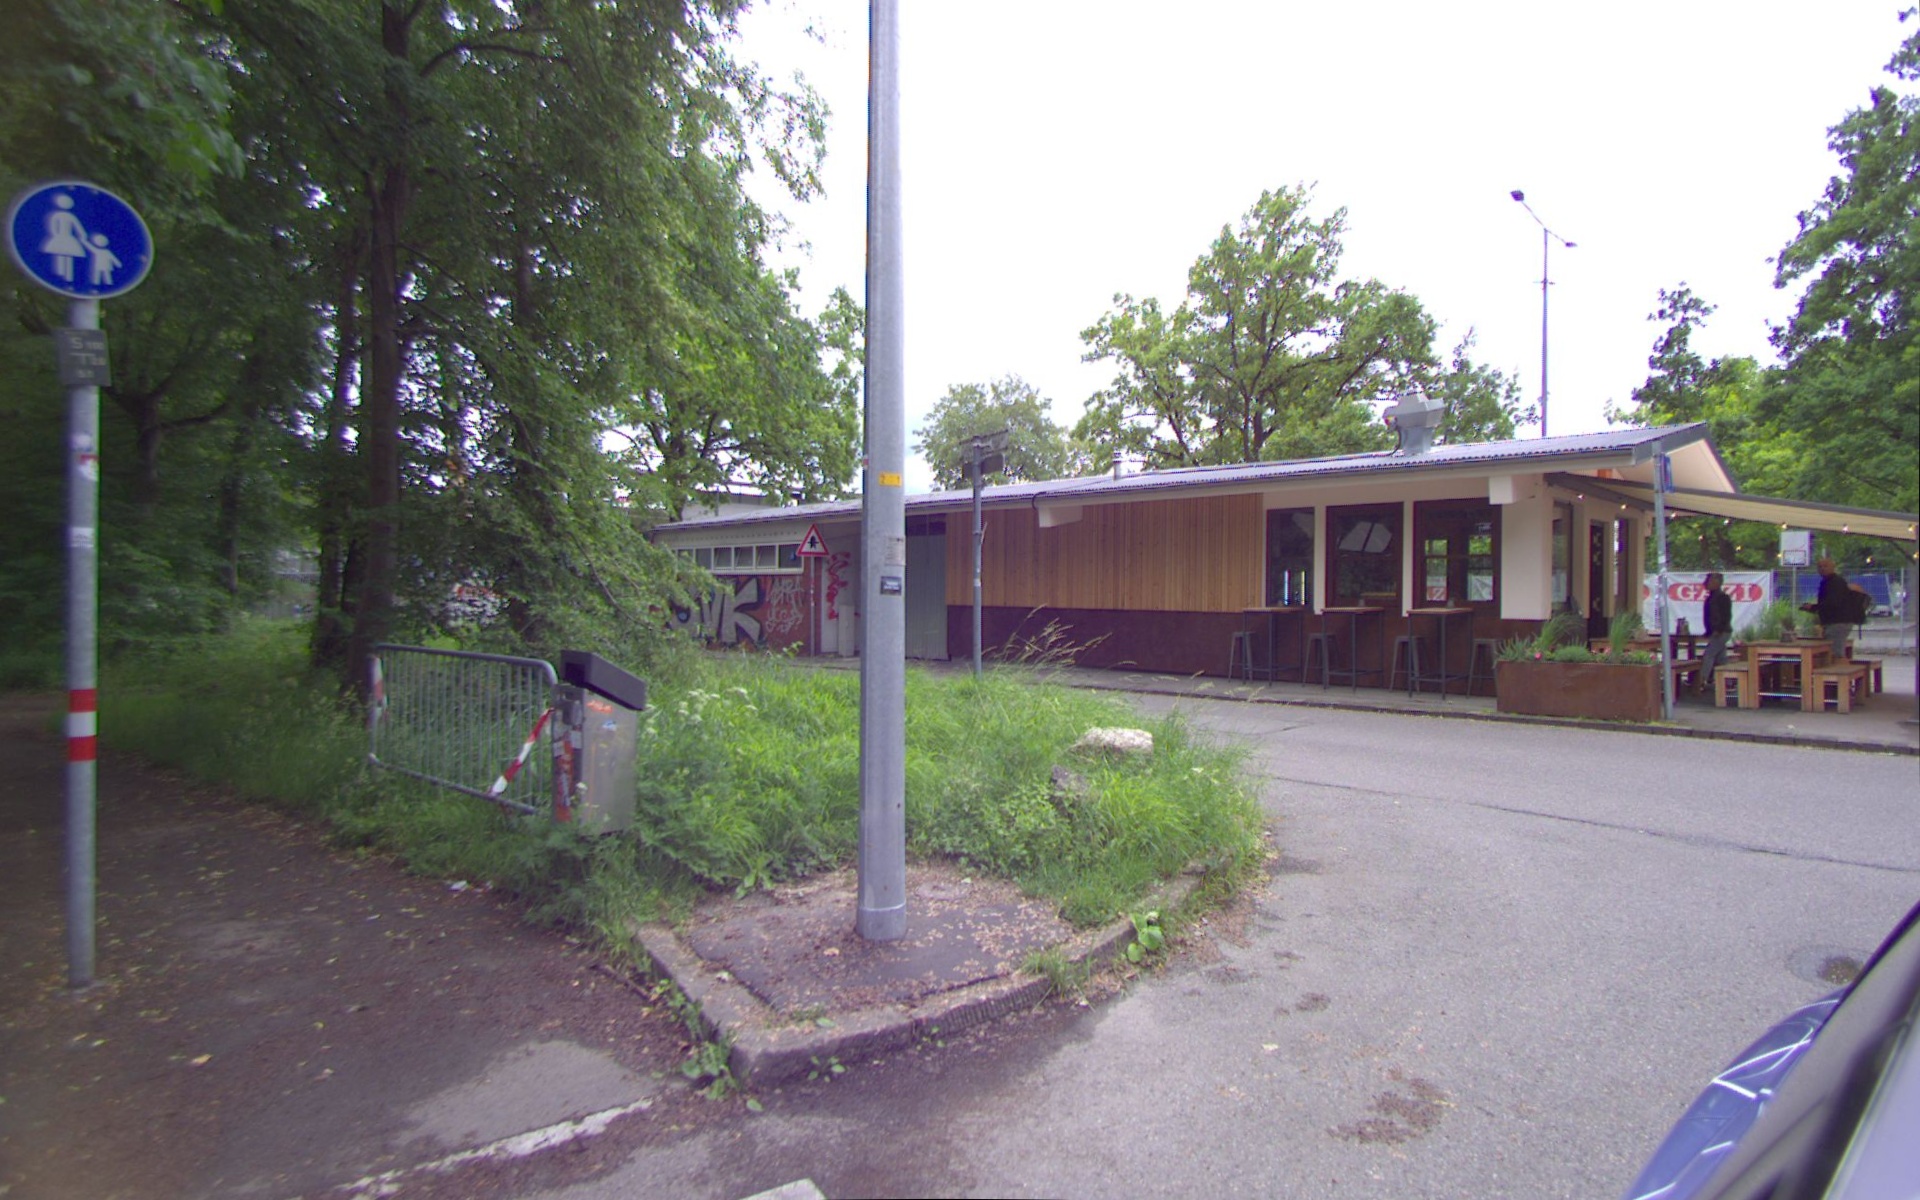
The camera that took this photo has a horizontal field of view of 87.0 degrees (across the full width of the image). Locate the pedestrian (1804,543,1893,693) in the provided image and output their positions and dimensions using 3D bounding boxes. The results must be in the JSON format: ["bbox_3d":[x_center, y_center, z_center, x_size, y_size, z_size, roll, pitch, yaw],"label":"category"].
[{"bbox_3d":[11.428,0.217,13.025,0.697,1.854,0.749,0,0,-40],"label":"pedestrian"}]

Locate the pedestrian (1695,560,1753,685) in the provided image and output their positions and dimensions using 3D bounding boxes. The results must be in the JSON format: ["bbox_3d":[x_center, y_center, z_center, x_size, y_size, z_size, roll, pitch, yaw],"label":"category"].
[{"bbox_3d":[10.627,0.297,14.079,0.585,1.688,0.530,0,0,-41],"label":"pedestrian"}]

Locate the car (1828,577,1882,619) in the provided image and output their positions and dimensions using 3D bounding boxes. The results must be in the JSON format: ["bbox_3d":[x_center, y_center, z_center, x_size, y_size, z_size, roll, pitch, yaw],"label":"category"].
[{"bbox_3d":[45.391,-0.105,51.365,1.991,2.039,3.941,0,0,41],"label":"car"}]
